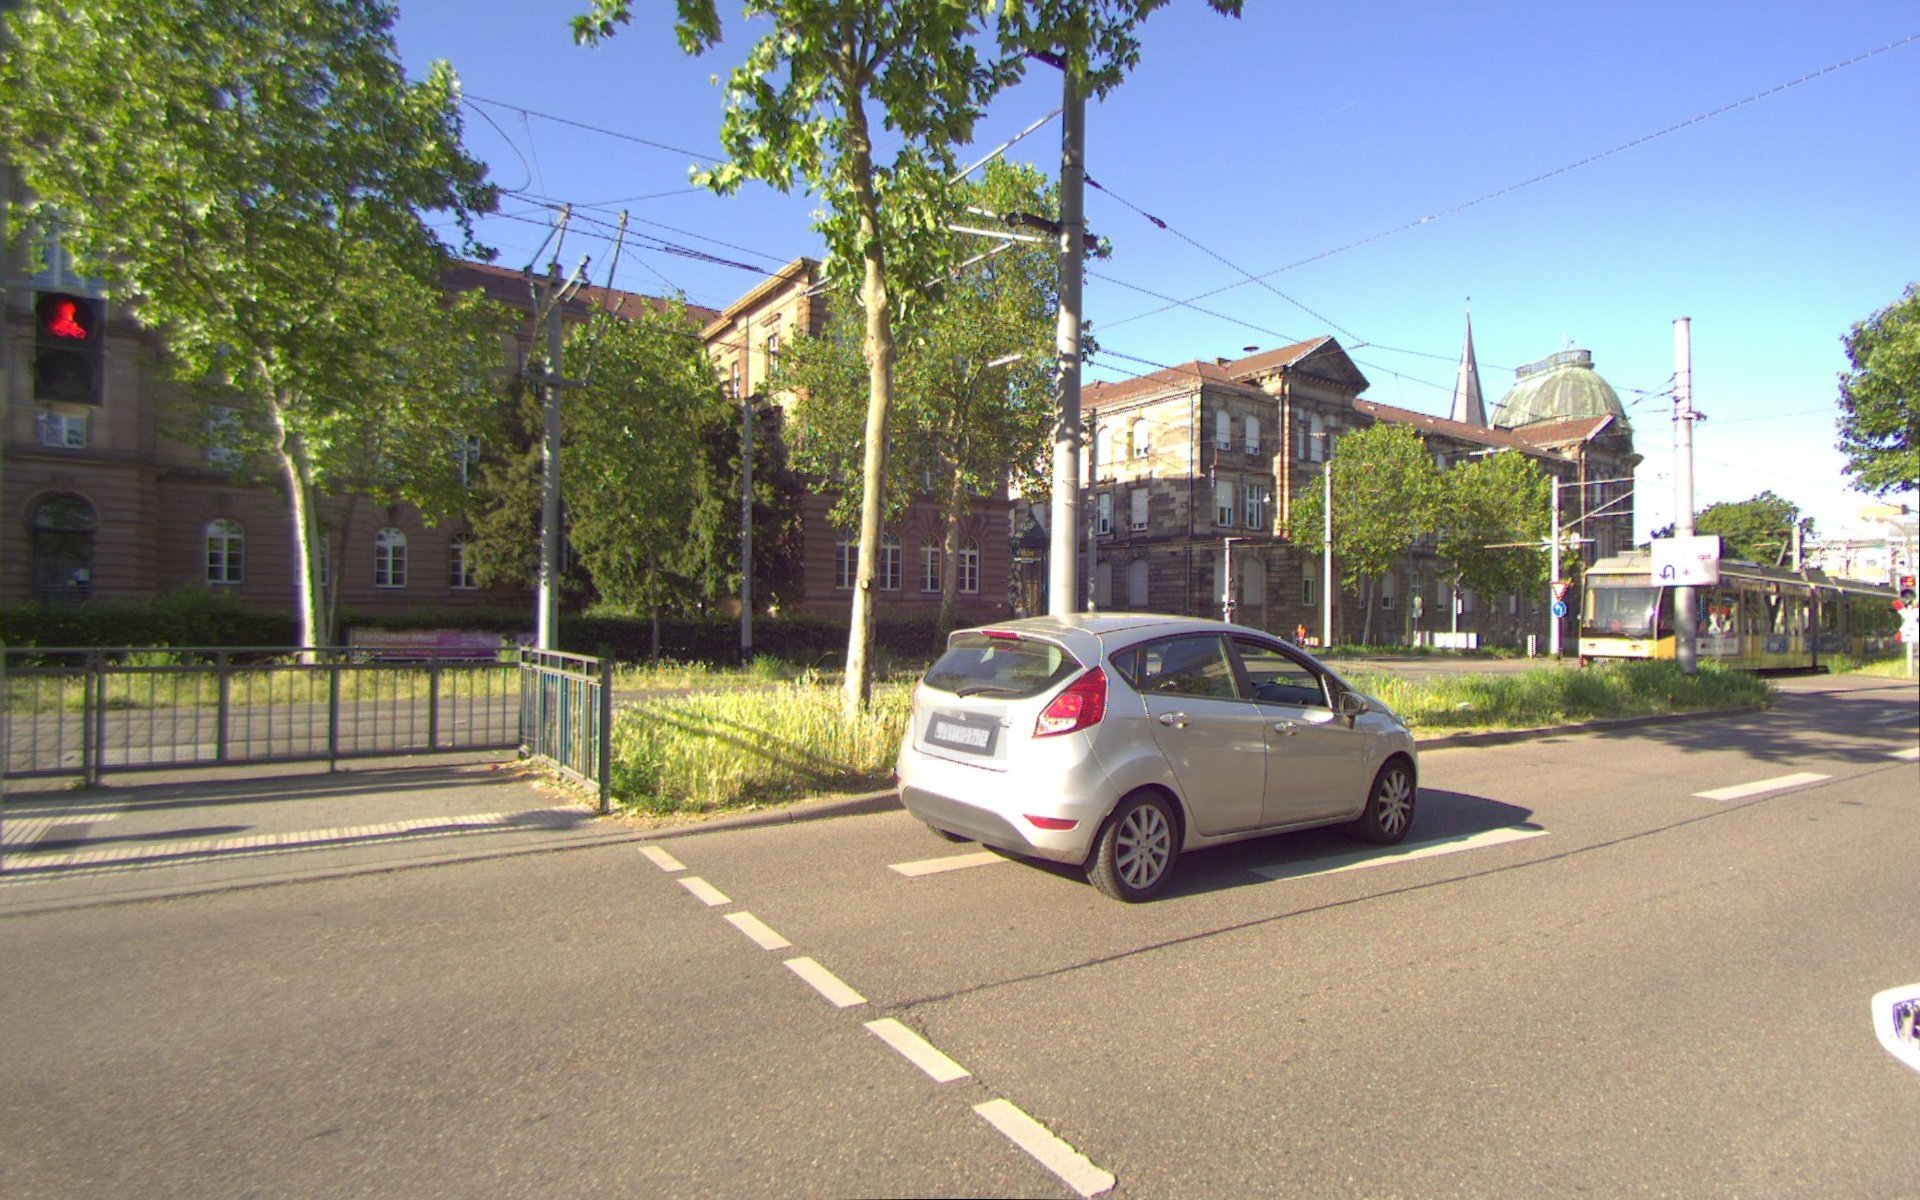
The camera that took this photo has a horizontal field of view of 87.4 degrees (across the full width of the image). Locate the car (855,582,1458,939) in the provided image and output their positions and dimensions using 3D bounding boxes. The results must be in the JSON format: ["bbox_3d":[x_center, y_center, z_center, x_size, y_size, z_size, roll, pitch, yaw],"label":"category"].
[{"bbox_3d":[1.408,0.766,6.391,3.829,1.617,1.649,2,0,-38],"label":"car"}]

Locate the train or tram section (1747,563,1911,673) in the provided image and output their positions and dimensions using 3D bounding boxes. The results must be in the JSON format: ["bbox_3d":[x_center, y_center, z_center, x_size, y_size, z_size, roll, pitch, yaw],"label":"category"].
[{"bbox_3d":[35.267,0.759,40.569,10.706,3.949,2.930,2,0,-38],"label":"train or tram section"}]

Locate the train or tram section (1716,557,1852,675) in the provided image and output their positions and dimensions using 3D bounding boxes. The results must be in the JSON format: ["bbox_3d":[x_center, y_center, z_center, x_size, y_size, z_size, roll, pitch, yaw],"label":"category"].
[{"bbox_3d":[29.584,0.565,36.058,3.831,3.949,2.933,2,0,-38],"label":"train or tram section"}]

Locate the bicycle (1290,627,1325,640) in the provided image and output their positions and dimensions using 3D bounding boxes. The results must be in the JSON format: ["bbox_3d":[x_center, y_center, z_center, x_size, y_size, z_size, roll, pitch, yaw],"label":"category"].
[{"bbox_3d":[20.474,1.963,59.163,1.865,0.732,0.526,2,0,26],"label":"bicycle"}]

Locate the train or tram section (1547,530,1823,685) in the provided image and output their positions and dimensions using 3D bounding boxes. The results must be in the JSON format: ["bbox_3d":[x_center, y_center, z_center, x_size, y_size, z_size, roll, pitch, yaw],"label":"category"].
[{"bbox_3d":[22.478,0.357,30.545,14.145,3.863,2.906,2,0,-38],"label":"train or tram section"}]

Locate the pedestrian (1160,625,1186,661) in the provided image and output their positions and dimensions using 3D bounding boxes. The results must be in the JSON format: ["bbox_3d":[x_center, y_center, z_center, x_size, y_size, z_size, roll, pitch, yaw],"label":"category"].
[{"bbox_3d":[11.213,2.263,52.779,0.992,1.824,0.857,2,0,-33],"label":"pedestrian"}]

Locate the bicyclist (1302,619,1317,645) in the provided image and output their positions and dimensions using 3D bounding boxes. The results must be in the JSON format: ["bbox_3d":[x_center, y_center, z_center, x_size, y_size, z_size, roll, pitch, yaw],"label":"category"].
[{"bbox_3d":[20.574,1.857,59.126,0.716,1.481,0.796,2,0,26],"label":"bicyclist"}]
